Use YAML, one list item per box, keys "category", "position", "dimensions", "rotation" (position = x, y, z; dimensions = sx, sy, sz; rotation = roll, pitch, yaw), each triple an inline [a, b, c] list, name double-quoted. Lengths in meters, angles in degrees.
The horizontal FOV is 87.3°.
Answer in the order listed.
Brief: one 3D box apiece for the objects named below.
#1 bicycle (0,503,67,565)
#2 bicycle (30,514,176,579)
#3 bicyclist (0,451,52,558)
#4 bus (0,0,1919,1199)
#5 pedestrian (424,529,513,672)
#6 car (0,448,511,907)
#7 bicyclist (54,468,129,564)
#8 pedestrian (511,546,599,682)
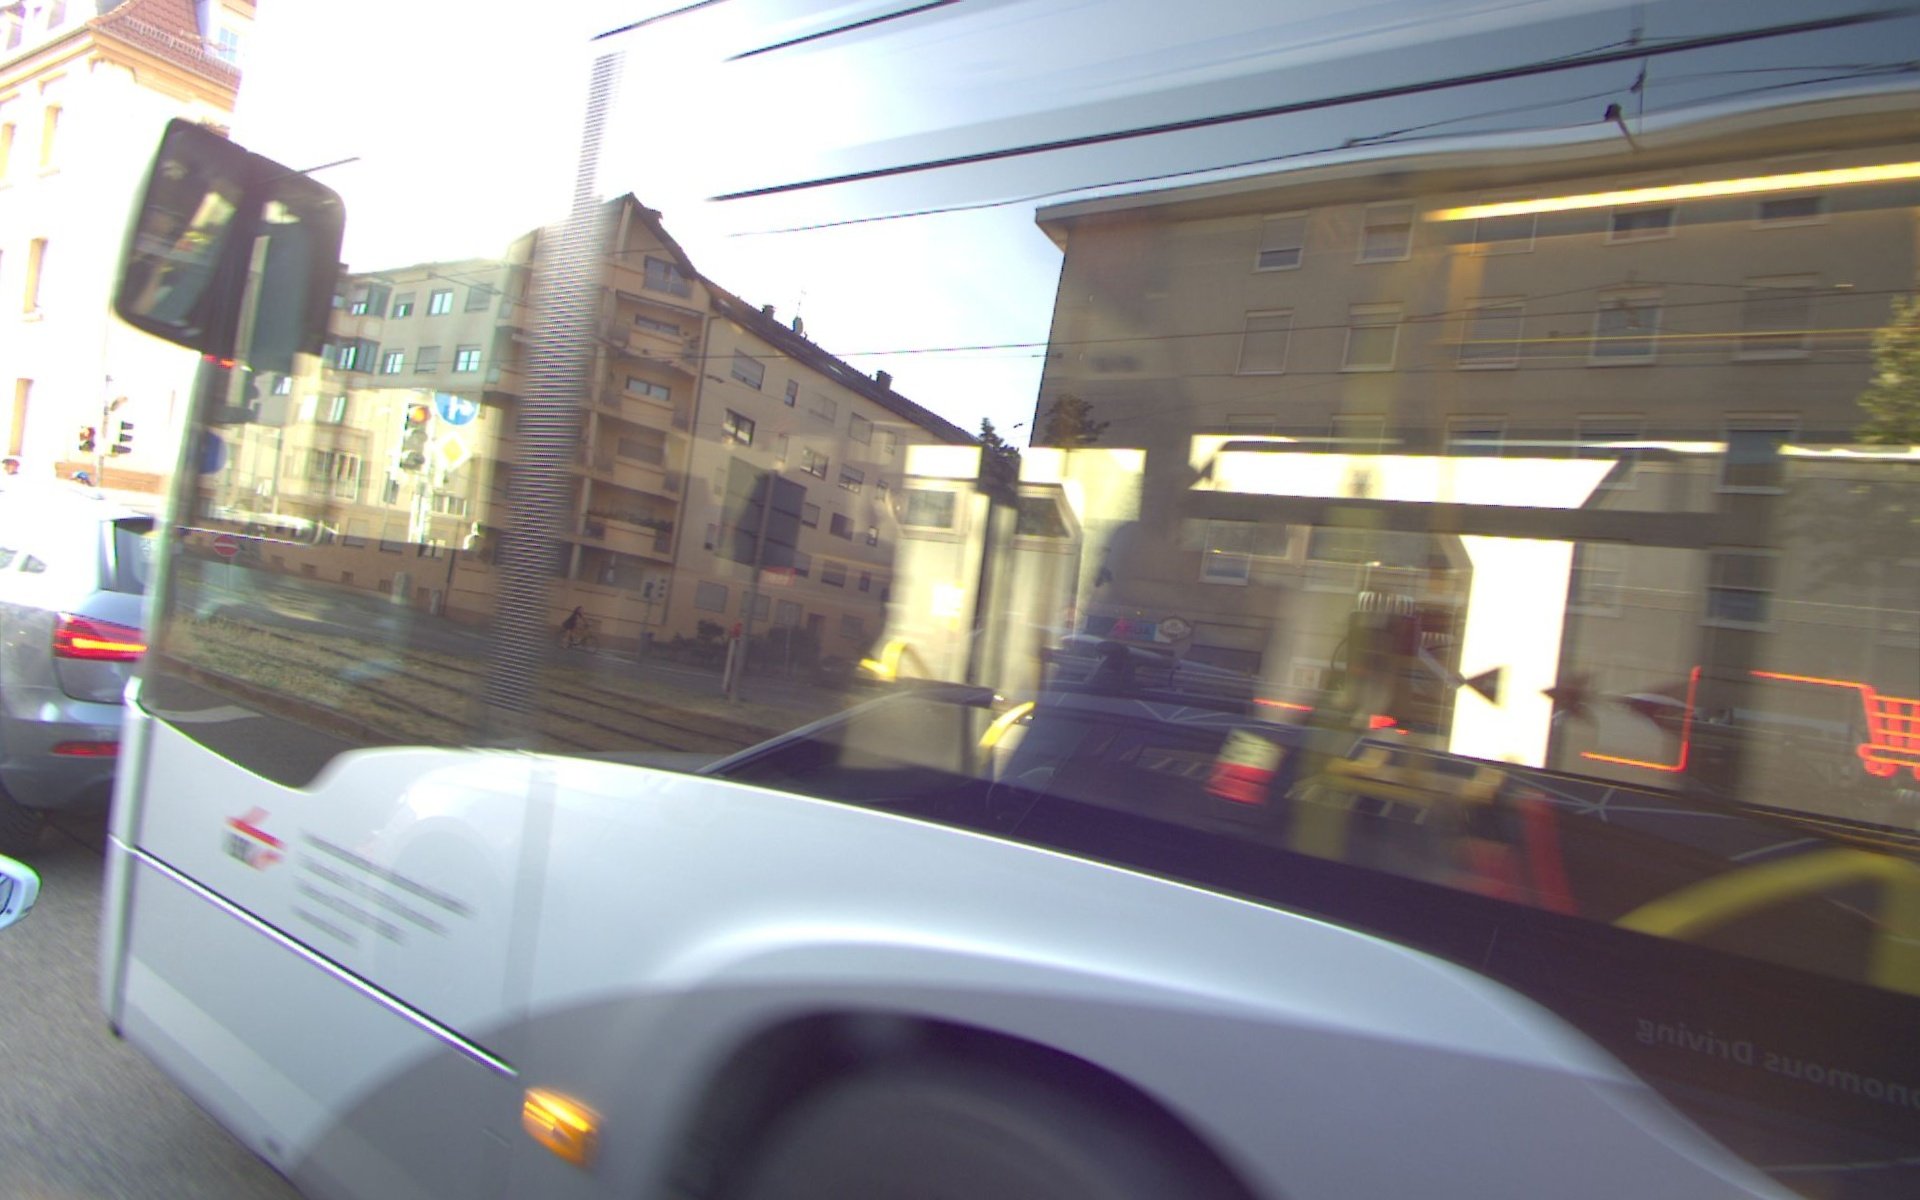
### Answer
- category: "bicycle"
  position: [-19.104, -1.377, 19.926]
  dimensions: [0.565, 1.107, 1.948]
  rotation: [7, -1, 29]
- category: "bicycle"
  position: [-17.478, -1.074, 20.580]
  dimensions: [0.734, 0.969, 2.078]
  rotation: [7, -2, 29]
- category: "bicyclist"
  position: [-18.920, -1.905, 20.028]
  dimensions: [0.661, 2.013, 0.961]
  rotation: [7, 1, 29]
- category: "bus"
  position: [2.076, 0.227, 1.345]
  dimensions: [8.979, 3.091, 2.744]
  rotation: [7, -1, 32]
- category: "pedestrian"
  position: [-6.891, 0.020, 14.120]
  dimensions: [0.706, 1.898, 0.694]
  rotation: [7, 1, 32]
- category: "car"
  position: [-4.469, 0.135, 5.323]
  dimensions: [4.018, 1.595, 1.772]
  rotation: [7, 0, 32]
- category: "bicyclist"
  position: [-17.529, -1.687, 20.311]
  dimensions: [0.708, 1.773, 0.795]
  rotation: [7, -1, 30]
- category: "pedestrian"
  position: [-4.907, 0.165, 12.185]
  dimensions: [0.817, 1.544, 0.440]
  rotation: [7, 1, 32]
